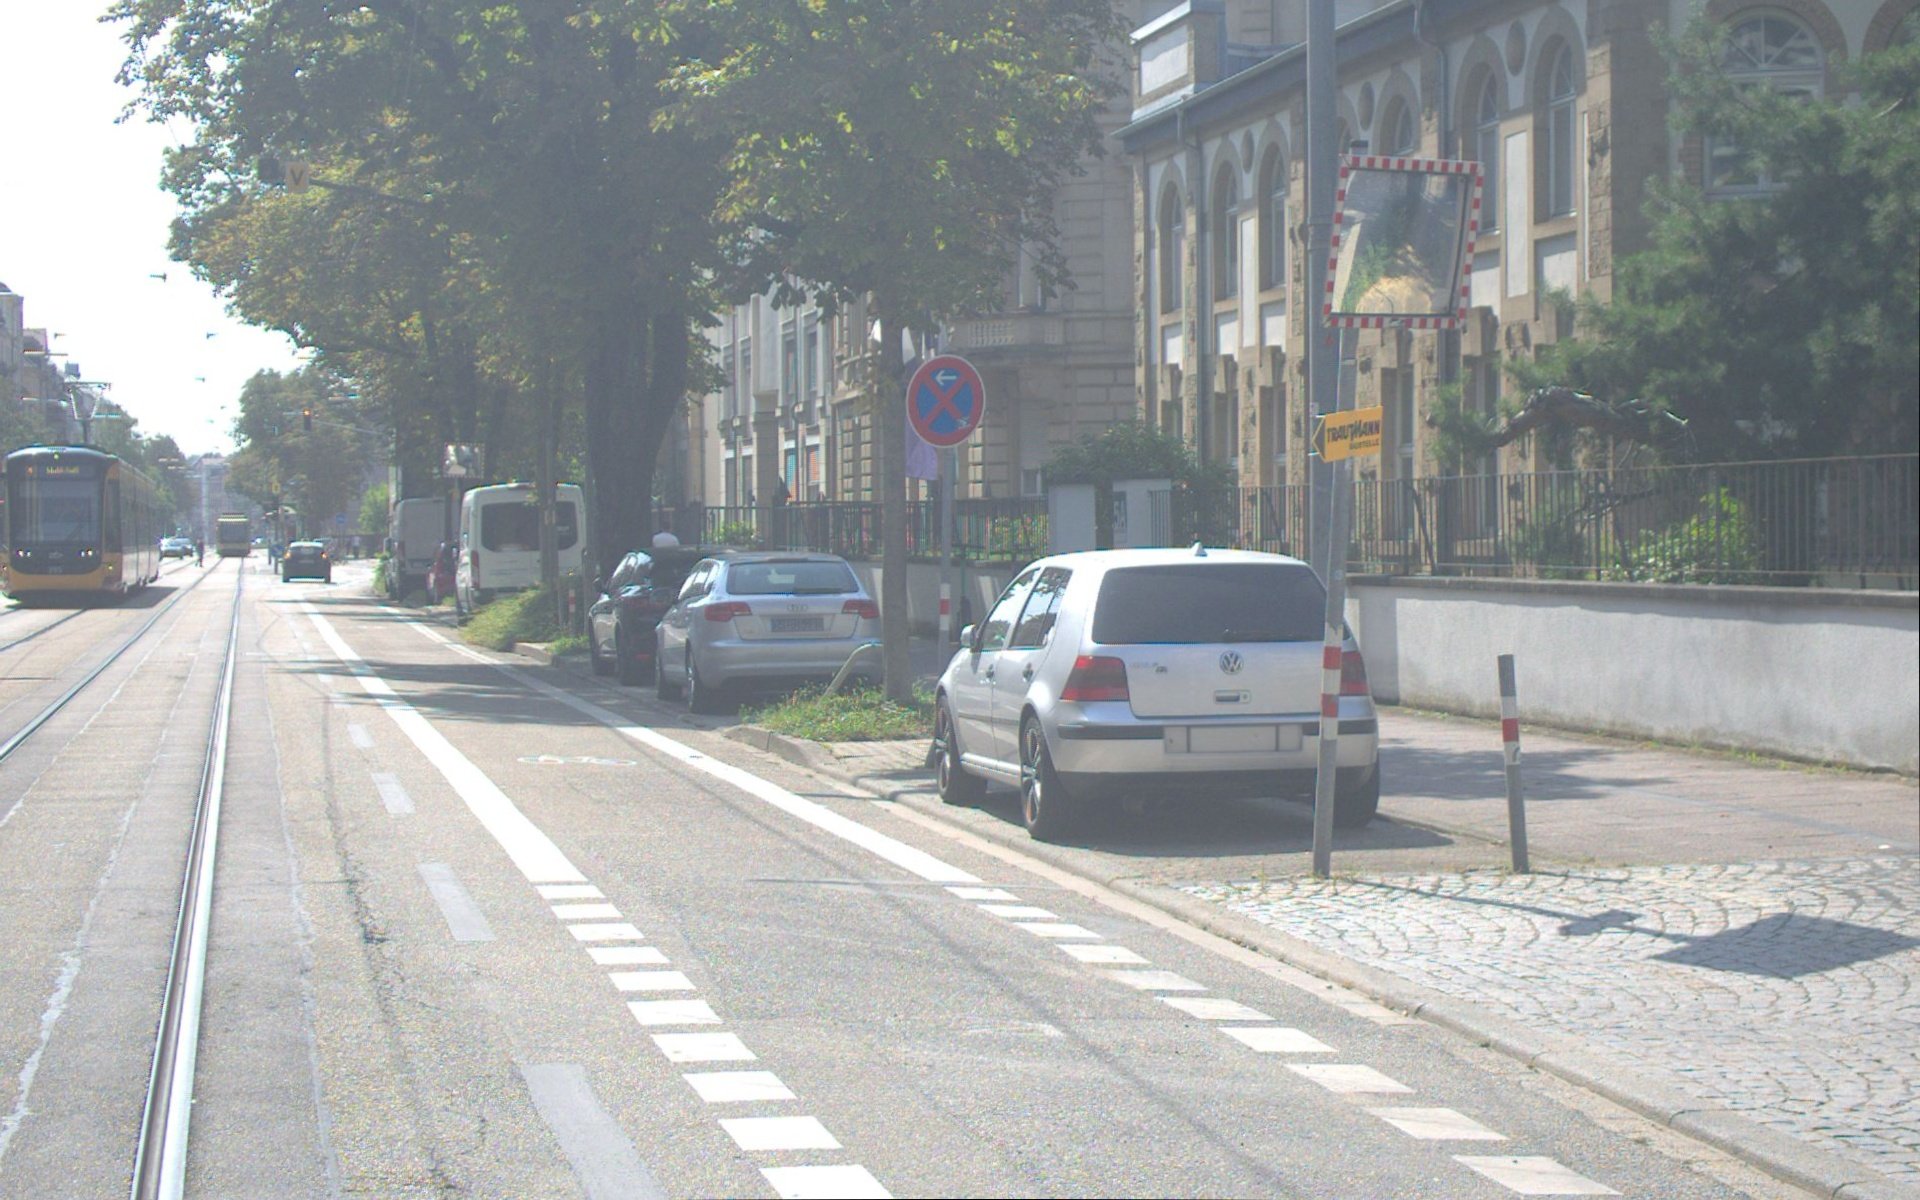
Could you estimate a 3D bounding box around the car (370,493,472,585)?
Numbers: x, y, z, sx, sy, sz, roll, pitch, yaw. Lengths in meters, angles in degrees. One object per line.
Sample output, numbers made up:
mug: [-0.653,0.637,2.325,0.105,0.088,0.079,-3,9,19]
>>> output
car: [-13.369,-1.522,85.063,1.993,2.226,4.001,0,1,-16]

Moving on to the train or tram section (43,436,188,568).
train or tram section: [-25.261,-2.935,103.417,3.496,3.691,12.416,0,1,-10]

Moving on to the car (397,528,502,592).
car: [-11.624,-0.928,78.173,1.993,1.393,4.001,0,1,-14]

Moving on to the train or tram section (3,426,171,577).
train or tram section: [-22.998,-2.586,91.225,3.496,3.691,12.416,0,1,-10]

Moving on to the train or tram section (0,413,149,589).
train or tram section: [-20.746,-2.263,78.990,3.496,3.691,12.416,0,1,-10]

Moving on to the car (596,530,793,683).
car: [-2.942,0.028,37.410,1.794,1.571,4.001,0,1,-10]

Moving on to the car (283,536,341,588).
car: [-23.304,-1.378,123.569,1.993,1.795,4.001,1,1,-11]

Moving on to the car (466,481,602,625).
car: [-7.286,-0.801,58.517,1.993,2.357,4.001,1,1,-11]

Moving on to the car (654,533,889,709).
car: [-1.773,0.163,31.344,1.640,1.506,3.642,0,1,-11]

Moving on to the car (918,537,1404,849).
car: [0.944,0.404,18.173,1.791,1.441,3.734,-1,1,-9]
